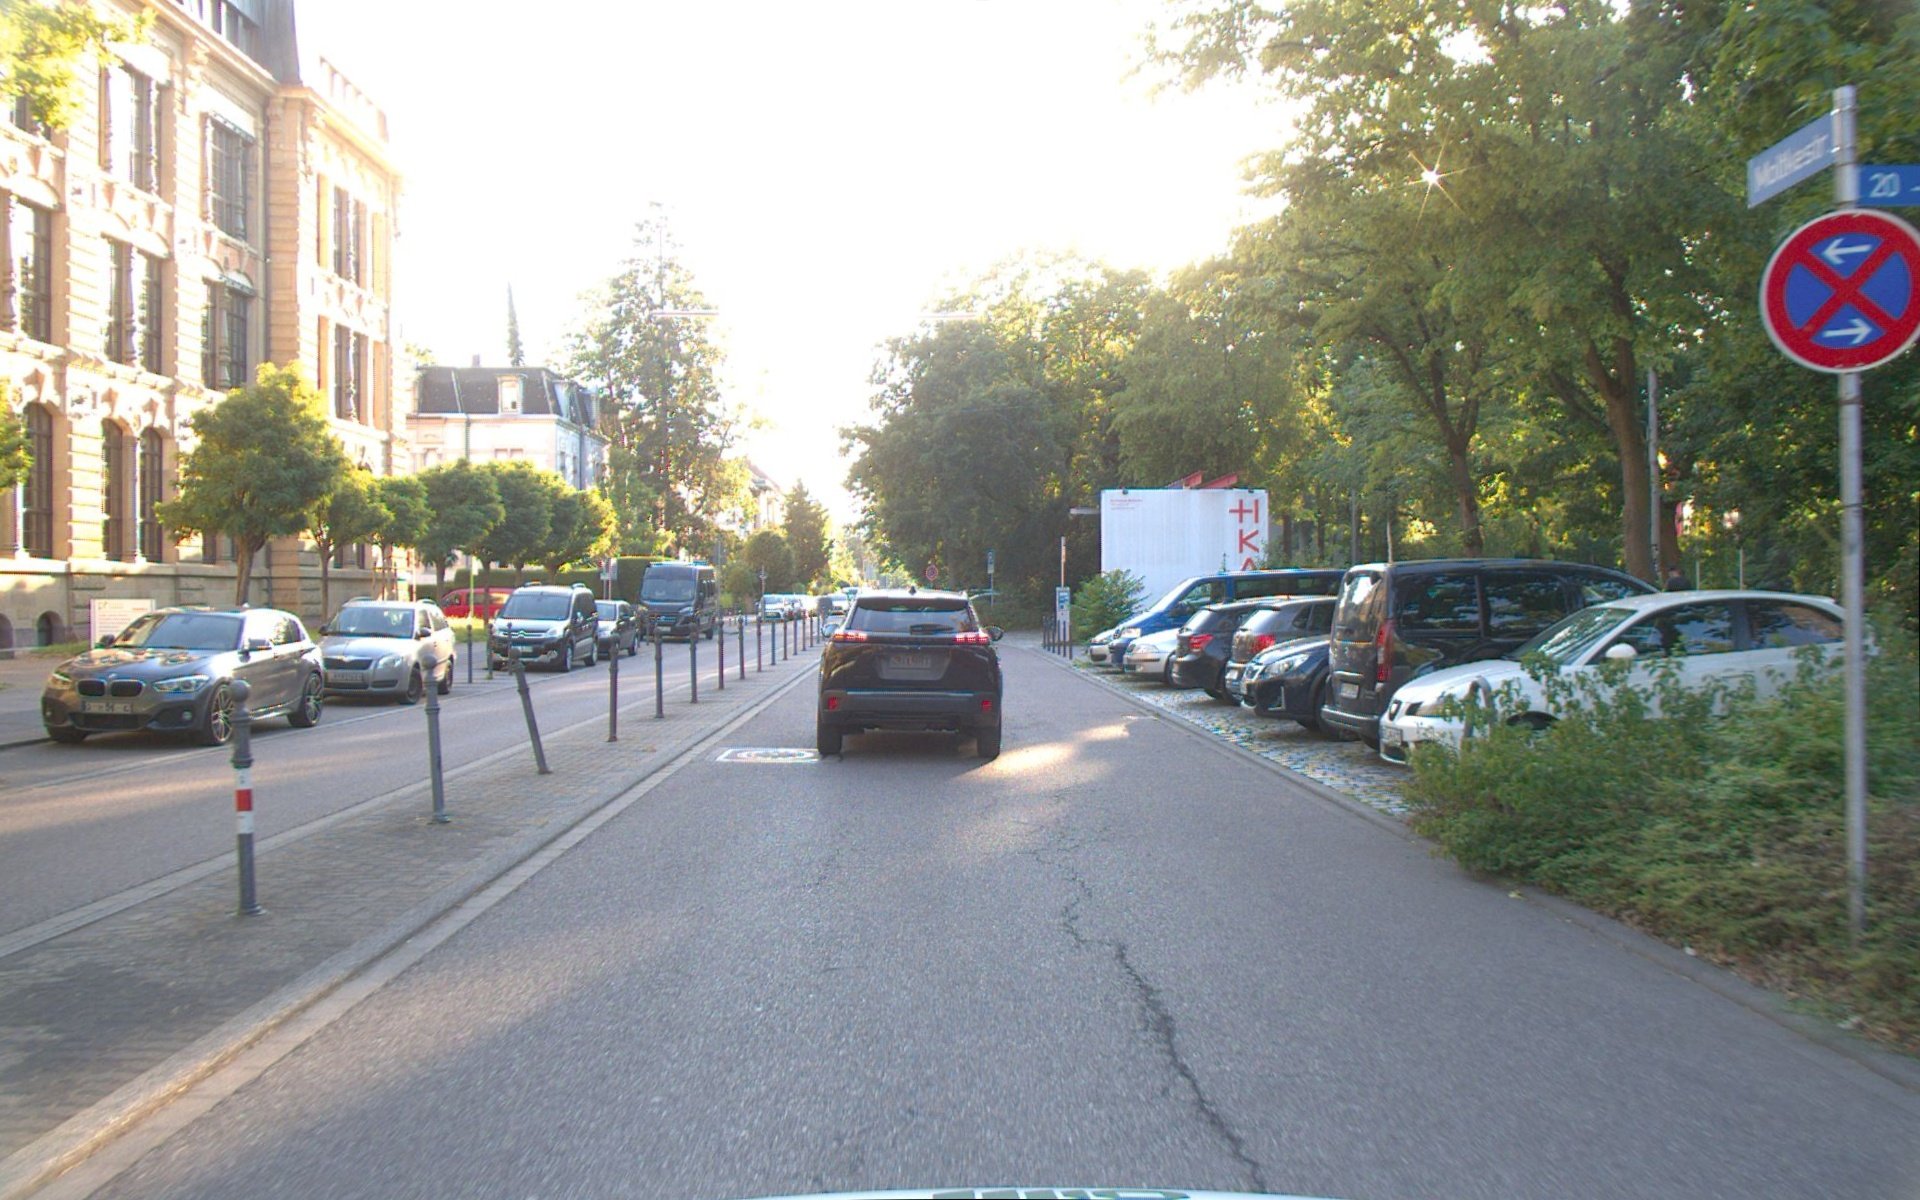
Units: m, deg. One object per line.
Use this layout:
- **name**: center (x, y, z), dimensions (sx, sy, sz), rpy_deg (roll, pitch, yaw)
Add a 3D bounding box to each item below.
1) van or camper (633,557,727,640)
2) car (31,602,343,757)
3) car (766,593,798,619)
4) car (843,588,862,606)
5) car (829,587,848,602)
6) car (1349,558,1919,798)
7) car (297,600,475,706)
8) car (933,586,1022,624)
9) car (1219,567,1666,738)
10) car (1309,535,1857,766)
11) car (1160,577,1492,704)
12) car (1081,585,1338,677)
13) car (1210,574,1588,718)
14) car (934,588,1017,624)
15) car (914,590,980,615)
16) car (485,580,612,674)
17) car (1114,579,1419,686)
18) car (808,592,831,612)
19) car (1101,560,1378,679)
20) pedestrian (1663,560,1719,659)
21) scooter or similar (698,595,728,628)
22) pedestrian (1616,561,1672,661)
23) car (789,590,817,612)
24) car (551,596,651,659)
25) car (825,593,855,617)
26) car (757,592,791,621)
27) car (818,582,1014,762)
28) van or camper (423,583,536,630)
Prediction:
- **van or camper**: center (-9.416, -0.052, 56.192), dimensions (2.185, 2.589, 7.077), rpy_deg (1, 0, -2)
- **car**: center (-8.551, 0.795, 18.743), dimensions (1.585, 1.522, 4.376), rpy_deg (0, 0, -2)
- **car**: center (-10.429, 0.342, 97.128), dimensions (1.581, 1.511, 3.740), rpy_deg (-1, 0, -2)
- **car**: center (-12.329, -0.397, 190.085), dimensions (1.953, 2.049, 4.000), rpy_deg (0, 0, -1)
- **car**: center (-13.103, -0.582, 178.935), dimensions (1.861, 1.601, 3.998), rpy_deg (0, 0, -2)
- **car**: center (5.427, 0.552, 12.965), dimensions (4.275, 1.581, 1.727), rpy_deg (-2, 0, -2)
- **car**: center (-8.967, 0.770, 26.192), dimensions (1.685, 1.522, 4.372), rpy_deg (0, 0, -6)
- **car**: center (0.780, 0.230, 74.136), dimensions (3.906, 1.581, 1.725), rpy_deg (-1, 1, -2)
- **car**: center (5.154, 0.529, 18.056), dimensions (4.275, 1.581, 1.875), rpy_deg (-2, 0, -2)
- **car**: center (5.600, 0.427, 15.255), dimensions (4.275, 1.811, 1.920), rpy_deg (-2, 0, -2)
- **car**: center (5.175, 0.545, 23.760), dimensions (4.275, 1.564, 1.920), rpy_deg (-2, 0, -2)
- **car**: center (4.978, 0.602, 33.447), dimensions (4.828, 1.581, 1.915), rpy_deg (-2, 0, -2)
- **car**: center (5.520, 0.552, 21.171), dimensions (4.275, 1.564, 1.920), rpy_deg (-2, 0, -2)
- **car**: center (0.740, 0.273, 79.238), dimensions (3.906, 1.581, 1.752), rpy_deg (-1, 2, -2)
- **car**: center (-0.842, 0.159, 107.232), dimensions (4.159, 1.474, 2.020), rpy_deg (-2, 0, -4)
- **car**: center (-9.051, 0.542, 36.738), dimensions (1.741, 1.898, 4.331), rpy_deg (2, 0, -1)
- **car**: center (5.216, 0.538, 28.556), dimensions (4.828, 1.581, 1.915), rpy_deg (-2, 0, -2)
- **car**: center (-11.399, 0.149, 134.136), dimensions (1.717, 1.438, 3.762), rpy_deg (-2, 1, -3)
- **car**: center (5.147, 0.344, 30.873), dimensions (4.755, 1.949, 1.915), rpy_deg (-2, 0, -2)
- **pedestrian**: center (13.486, 0.181, 30.538), dimensions (0.634, 1.803, 0.789), rpy_deg (0, -1, -6)
- **scooter or similar**: center (-9.881, 0.451, 66.255), dimensions (0.423, 1.297, 1.340), rpy_deg (0, 0, 33)
- **pedestrian**: center (12.503, 0.200, 30.250), dimensions (0.651, 1.803, 0.785), rpy_deg (0, 1, -6)
- **car**: center (-10.679, 0.073, 113.012), dimensions (1.581, 1.492, 4.035), rpy_deg (-1, 0, -1)
- **car**: center (-9.156, 0.674, 42.497), dimensions (1.661, 1.496, 3.854), rpy_deg (2, 0, 0)
- **car**: center (-7.730, 0.325, 106.985), dimensions (1.706, 1.483, 4.622), rpy_deg (-1, 0, -2)
- **car**: center (-10.251, 0.354, 91.346), dimensions (1.582, 1.541, 3.709), rpy_deg (-2, 0, -3)
- **car**: center (-0.443, 0.624, 16.887), dimensions (1.736, 1.596, 4.108), rpy_deg (1, 1, -1)
- **van or camper**: center (-22.631, 0.309, 77.952), dimensions (4.670, 2.020, 2.001), rpy_deg (0, 4, 0)
